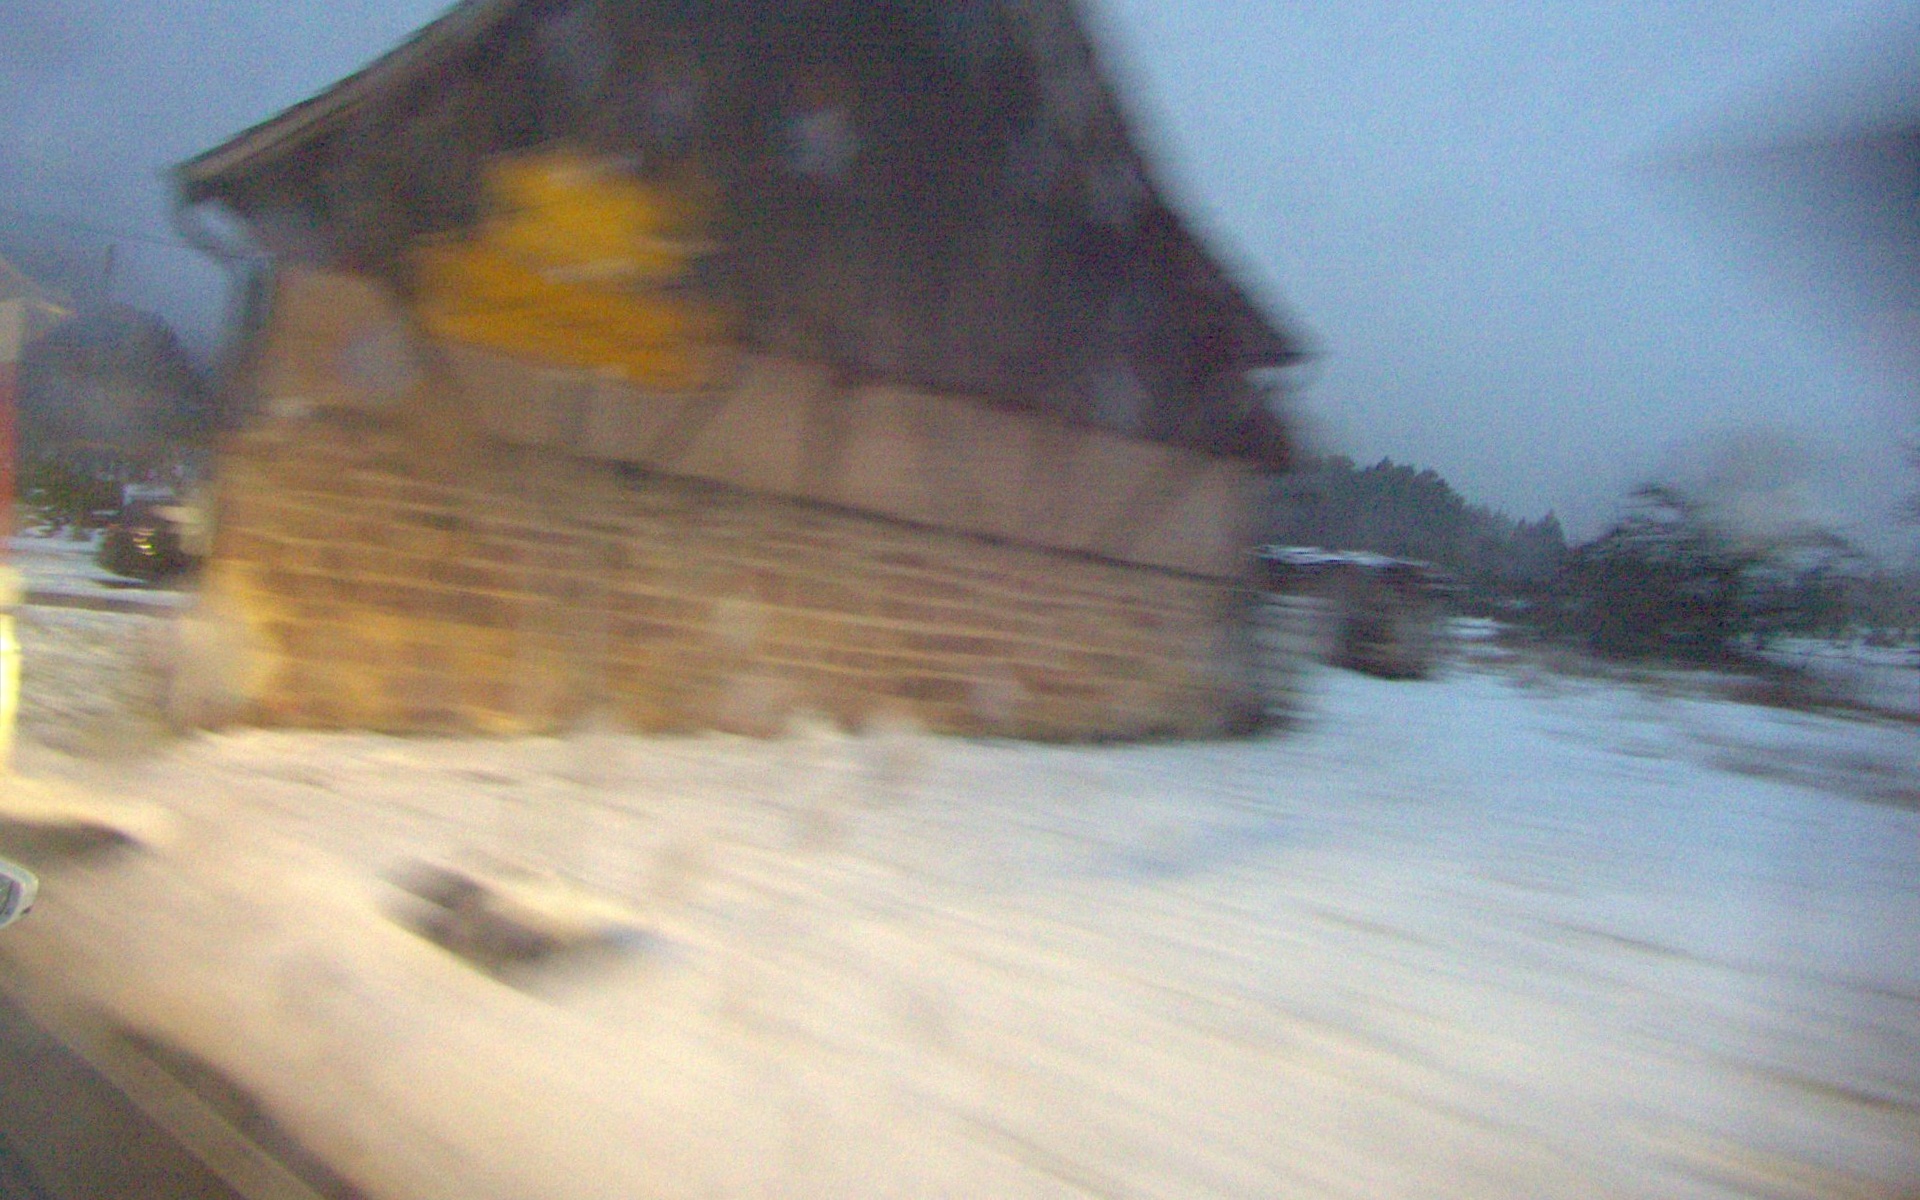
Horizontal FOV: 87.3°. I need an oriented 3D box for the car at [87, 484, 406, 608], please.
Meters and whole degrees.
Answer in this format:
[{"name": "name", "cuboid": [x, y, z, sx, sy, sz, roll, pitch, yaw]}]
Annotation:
[{"name": "car", "cuboid": [-12.991, -0.921, 18.565, 1.834, 1.678, 4.391, 9, 2, 39]}]
